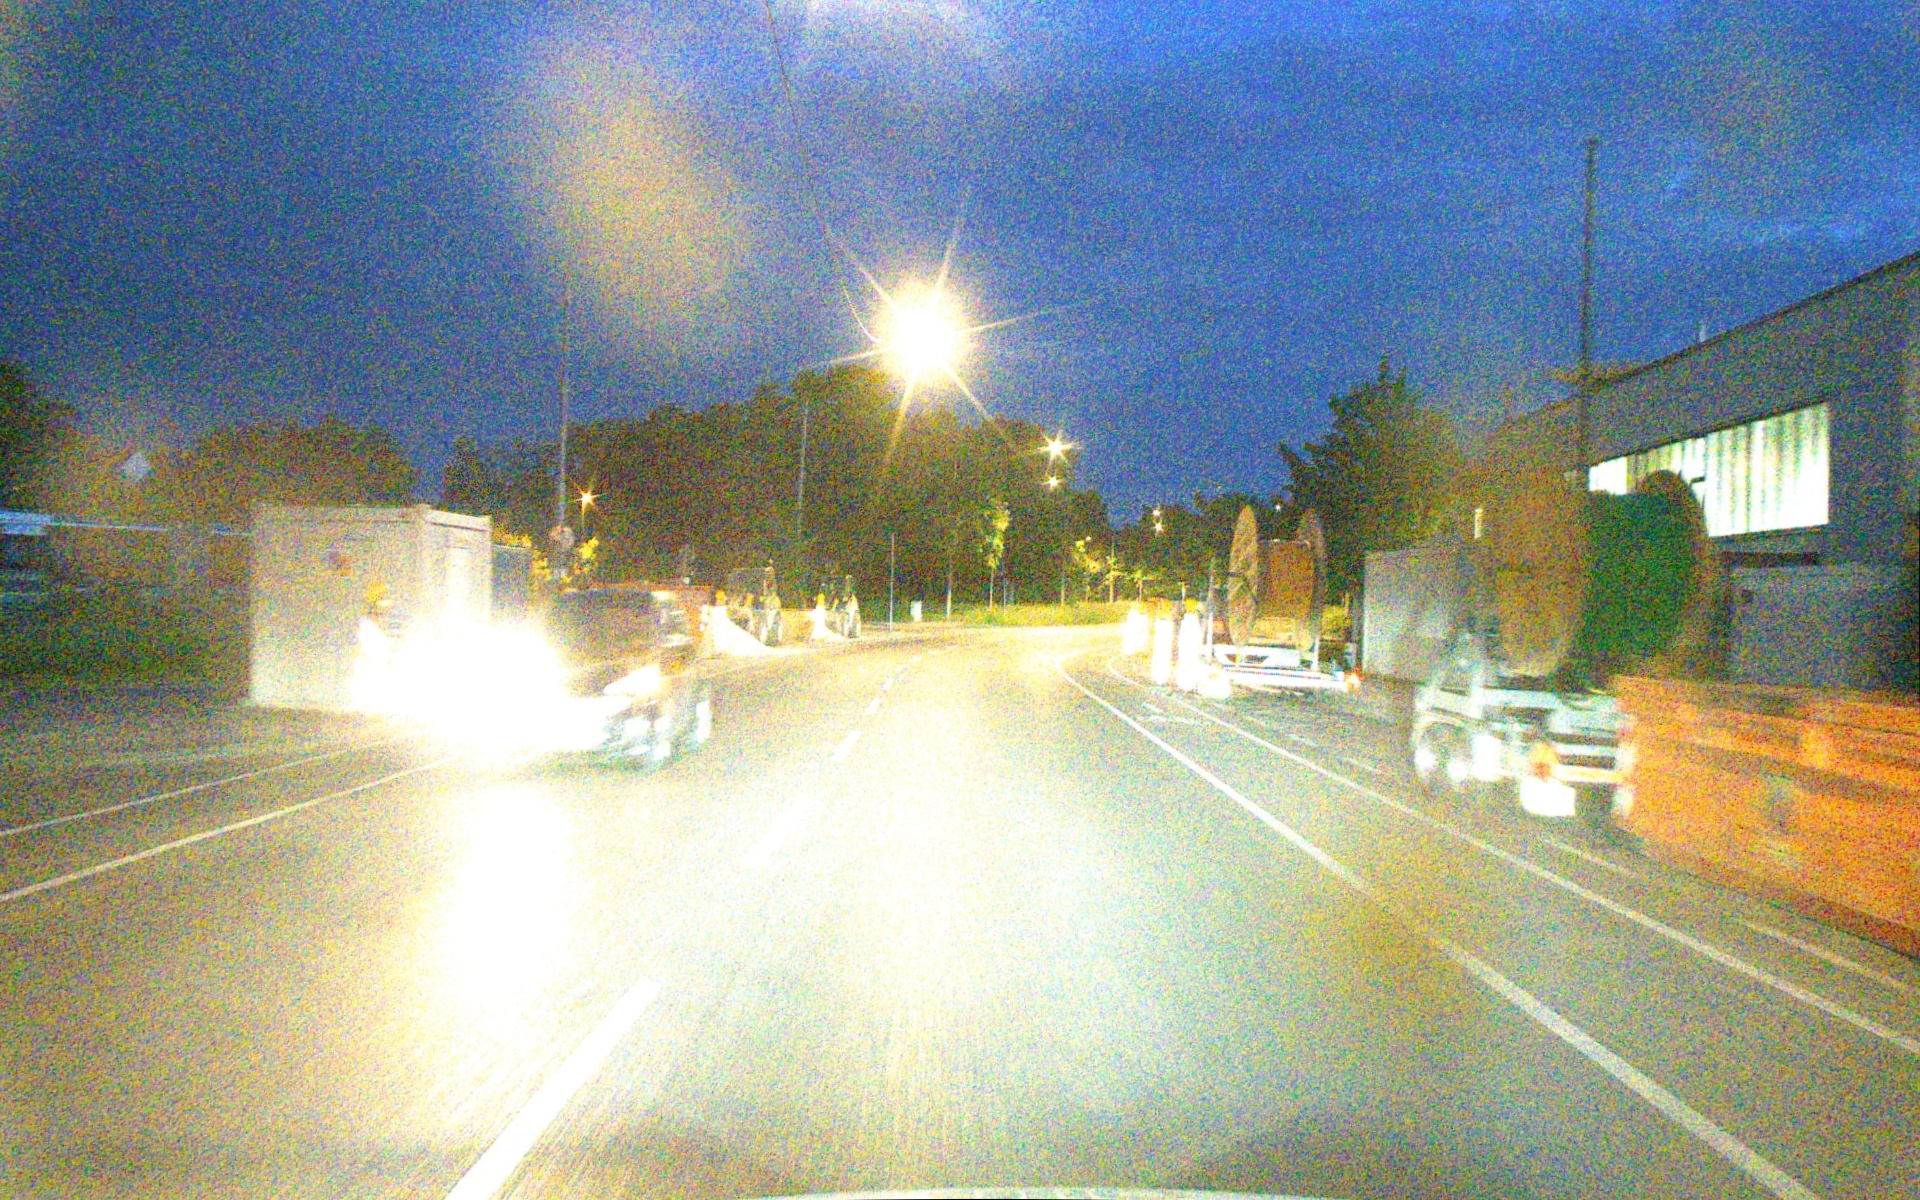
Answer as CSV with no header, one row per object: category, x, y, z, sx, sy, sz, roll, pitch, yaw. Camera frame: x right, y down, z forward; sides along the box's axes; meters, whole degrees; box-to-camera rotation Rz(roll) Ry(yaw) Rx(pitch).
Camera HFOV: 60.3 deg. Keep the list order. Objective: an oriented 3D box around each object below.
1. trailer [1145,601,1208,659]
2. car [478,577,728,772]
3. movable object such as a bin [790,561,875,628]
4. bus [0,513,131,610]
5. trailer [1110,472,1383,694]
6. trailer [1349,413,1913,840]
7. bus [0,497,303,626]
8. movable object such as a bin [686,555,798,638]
trailer,5.884,0.792,45.170,1.217,1.459,3.727,2,0,0
car,-3.172,0.610,15.227,1.662,1.604,2.957,-1,0,0
movable object such as a bin,-4.813,-0.189,63.072,1.951,2.418,4.706,1,0,12
bus,-32.170,-1.262,51.073,2.888,3.034,12.255,2,1,29
trailer,4.704,-0.239,28.270,3.413,3.275,4.861,3,-1,-4
trailer,5.338,0.212,14.094,2.562,2.895,4.705,3,-1,-4
bus,-24.204,-1.037,47.270,2.949,3.260,12.681,2,1,15
movable object such as a bin,-6.656,-0.137,51.026,1.951,2.418,4.706,1,1,12
